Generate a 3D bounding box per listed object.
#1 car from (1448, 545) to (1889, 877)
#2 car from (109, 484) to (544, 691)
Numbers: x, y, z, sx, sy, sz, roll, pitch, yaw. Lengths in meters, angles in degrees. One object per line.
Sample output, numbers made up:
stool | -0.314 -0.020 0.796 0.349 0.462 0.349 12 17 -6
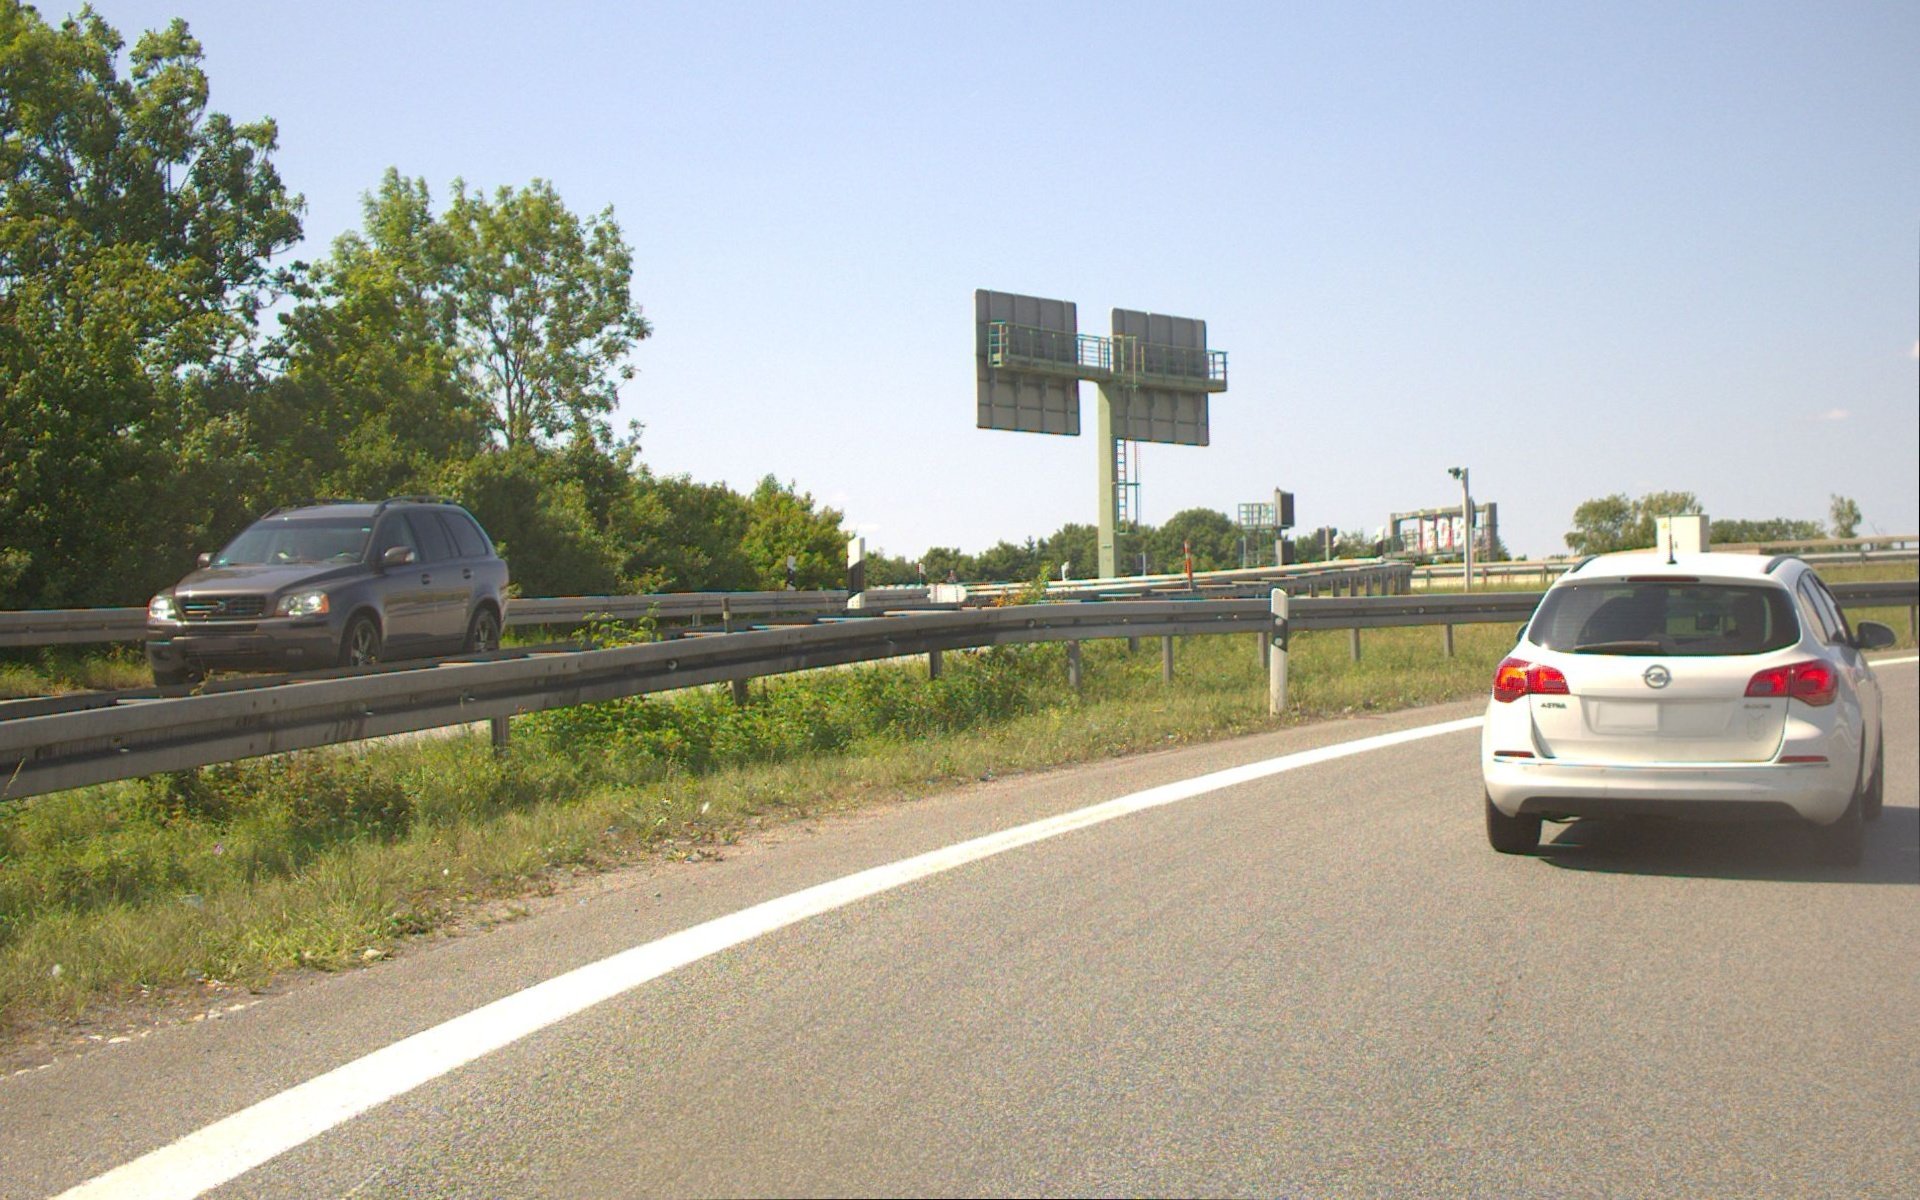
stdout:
car | 3.757 0.459 17.673 1.856 1.438 4.369 0 1 16
car | -5.670 -0.159 31.546 1.995 1.725 5.195 1 1 13
